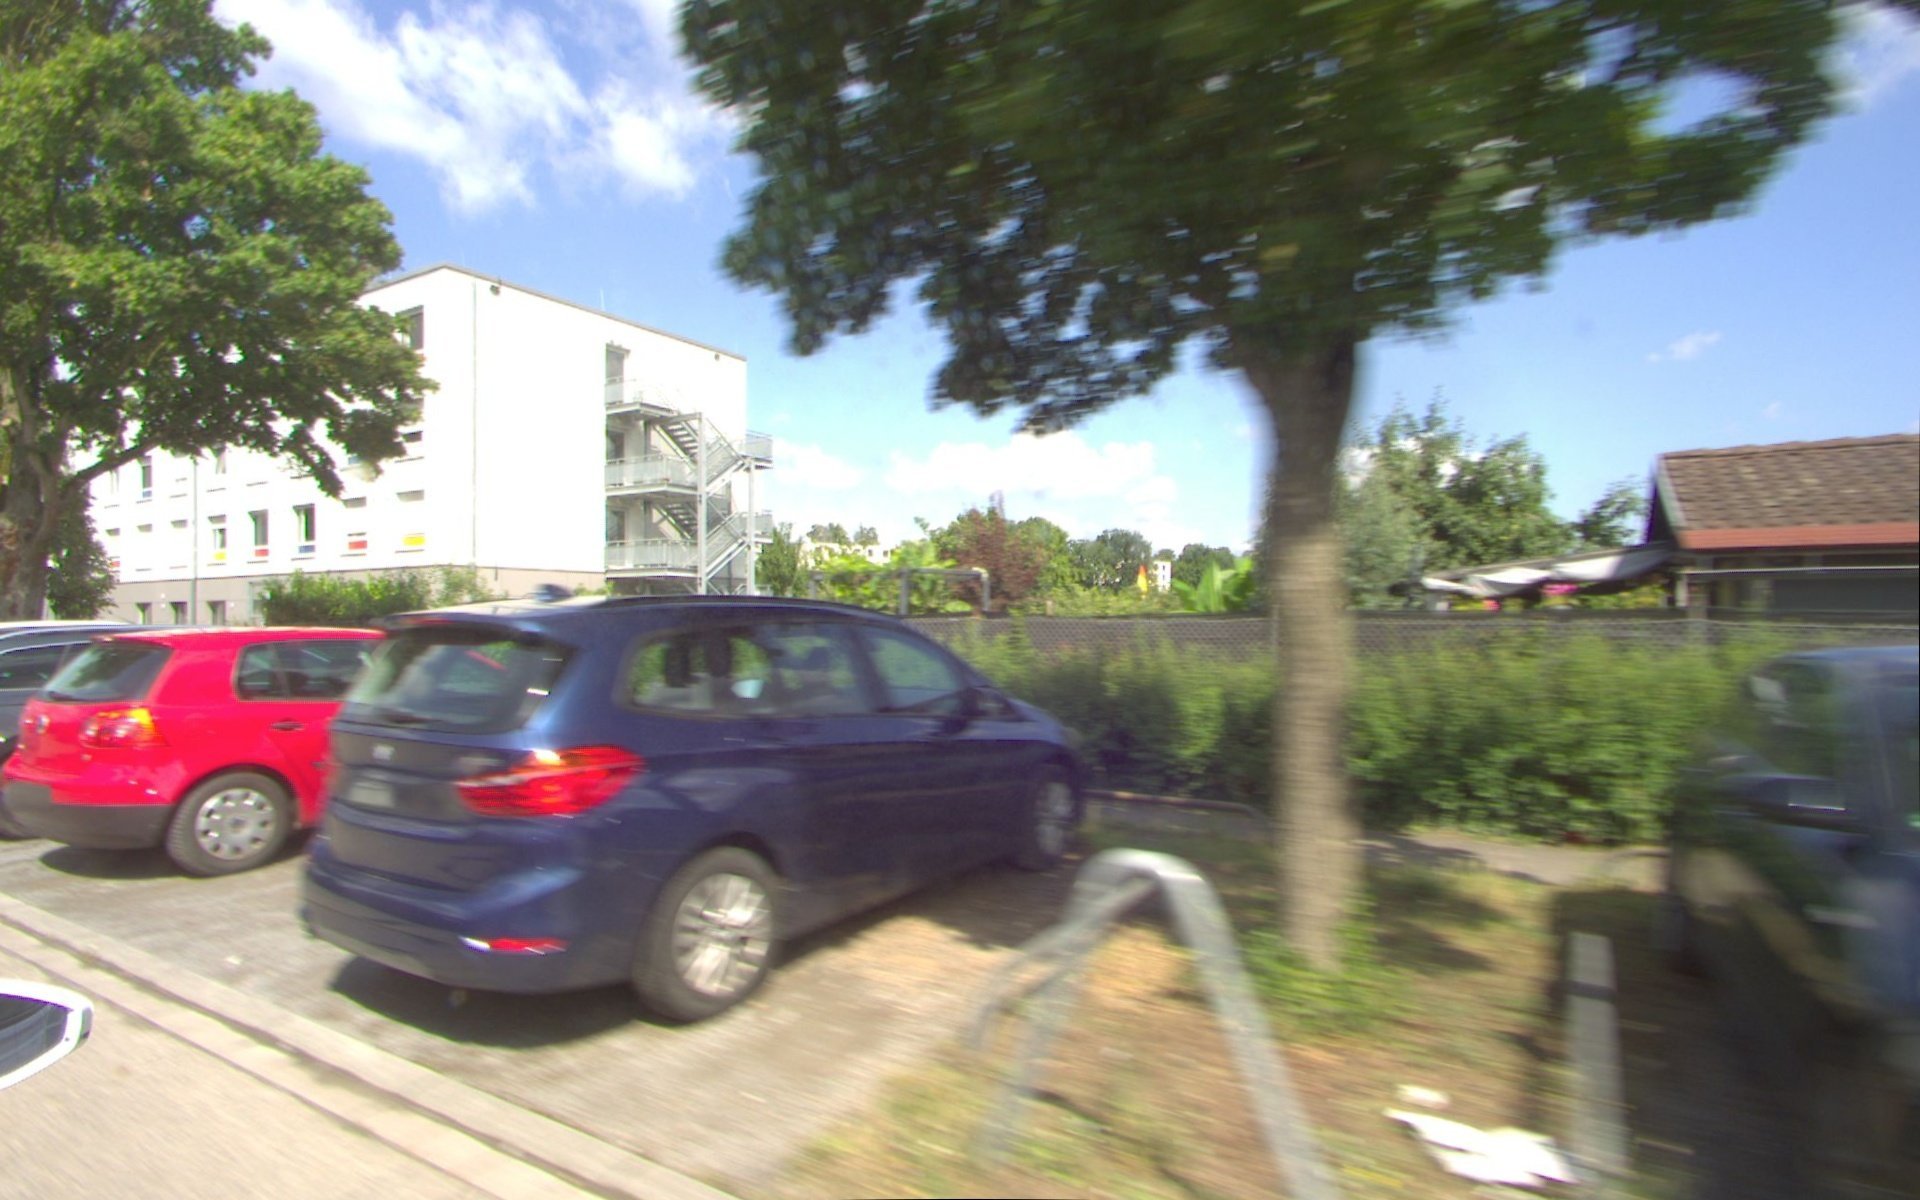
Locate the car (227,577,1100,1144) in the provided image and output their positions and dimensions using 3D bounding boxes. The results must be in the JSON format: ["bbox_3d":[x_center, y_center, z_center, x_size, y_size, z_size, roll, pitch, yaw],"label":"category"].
[{"bbox_3d":[-0.999,0.796,5.182,1.852,1.659,4.145,-1,-1,33],"label":"car"}]

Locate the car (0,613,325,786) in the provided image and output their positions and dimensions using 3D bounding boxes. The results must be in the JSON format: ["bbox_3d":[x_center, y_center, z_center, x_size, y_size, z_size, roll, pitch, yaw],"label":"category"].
[{"bbox_3d":[-8.935,0.960,10.431,1.641,1.568,3.572,0,-3,29],"label":"car"}]

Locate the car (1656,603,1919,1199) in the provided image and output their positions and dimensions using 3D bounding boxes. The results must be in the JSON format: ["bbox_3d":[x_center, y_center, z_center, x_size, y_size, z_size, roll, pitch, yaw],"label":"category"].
[{"bbox_3d":[3.192,0.838,2.628,1.947,1.511,4.330,-1,-3,31],"label":"car"}]

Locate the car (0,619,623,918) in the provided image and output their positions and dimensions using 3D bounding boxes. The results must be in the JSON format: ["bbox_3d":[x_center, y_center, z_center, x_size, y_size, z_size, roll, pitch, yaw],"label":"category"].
[{"bbox_3d":[-4.589,0.926,7.346,1.737,1.552,3.802,-1,-1,32],"label":"car"}]

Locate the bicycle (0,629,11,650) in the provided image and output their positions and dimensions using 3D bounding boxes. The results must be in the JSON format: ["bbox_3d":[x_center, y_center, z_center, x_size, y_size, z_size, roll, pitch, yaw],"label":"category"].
[{"bbox_3d":[-54.799,2.238,56.233,0.617,1.134,2.081,0,0,36],"label":"bicycle"}]

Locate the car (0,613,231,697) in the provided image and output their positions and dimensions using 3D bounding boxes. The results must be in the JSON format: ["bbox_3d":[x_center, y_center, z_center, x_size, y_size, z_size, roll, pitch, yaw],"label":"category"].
[{"bbox_3d":[-17.499,1.051,20.156,1.733,1.449,4.232,-1,0,31],"label":"car"}]

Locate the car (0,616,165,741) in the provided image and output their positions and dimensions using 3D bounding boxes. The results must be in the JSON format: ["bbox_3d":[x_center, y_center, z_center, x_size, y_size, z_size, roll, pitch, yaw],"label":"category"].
[{"bbox_3d":[-13.069,1.000,12.968,1.840,1.579,3.930,-1,-3,30],"label":"car"}]

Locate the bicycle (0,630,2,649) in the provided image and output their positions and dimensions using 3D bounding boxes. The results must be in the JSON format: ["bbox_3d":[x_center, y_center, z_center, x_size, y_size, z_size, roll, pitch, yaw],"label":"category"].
[{"bbox_3d":[-56.046,2.276,57.045,0.679,1.094,2.041,0,0,35],"label":"bicycle"}]

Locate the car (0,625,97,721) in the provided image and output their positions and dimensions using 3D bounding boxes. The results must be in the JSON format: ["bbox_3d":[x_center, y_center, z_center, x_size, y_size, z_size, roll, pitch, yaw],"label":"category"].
[{"bbox_3d":[-15.648,1.104,14.623,1.696,1.410,4.345,-1,-1,36],"label":"car"}]

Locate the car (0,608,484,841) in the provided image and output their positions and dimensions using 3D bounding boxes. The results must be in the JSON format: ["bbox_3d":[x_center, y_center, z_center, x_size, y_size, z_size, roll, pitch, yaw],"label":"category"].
[{"bbox_3d":[-6.673,0.925,8.491,1.782,1.598,4.544,-1,-3,31],"label":"car"}]
